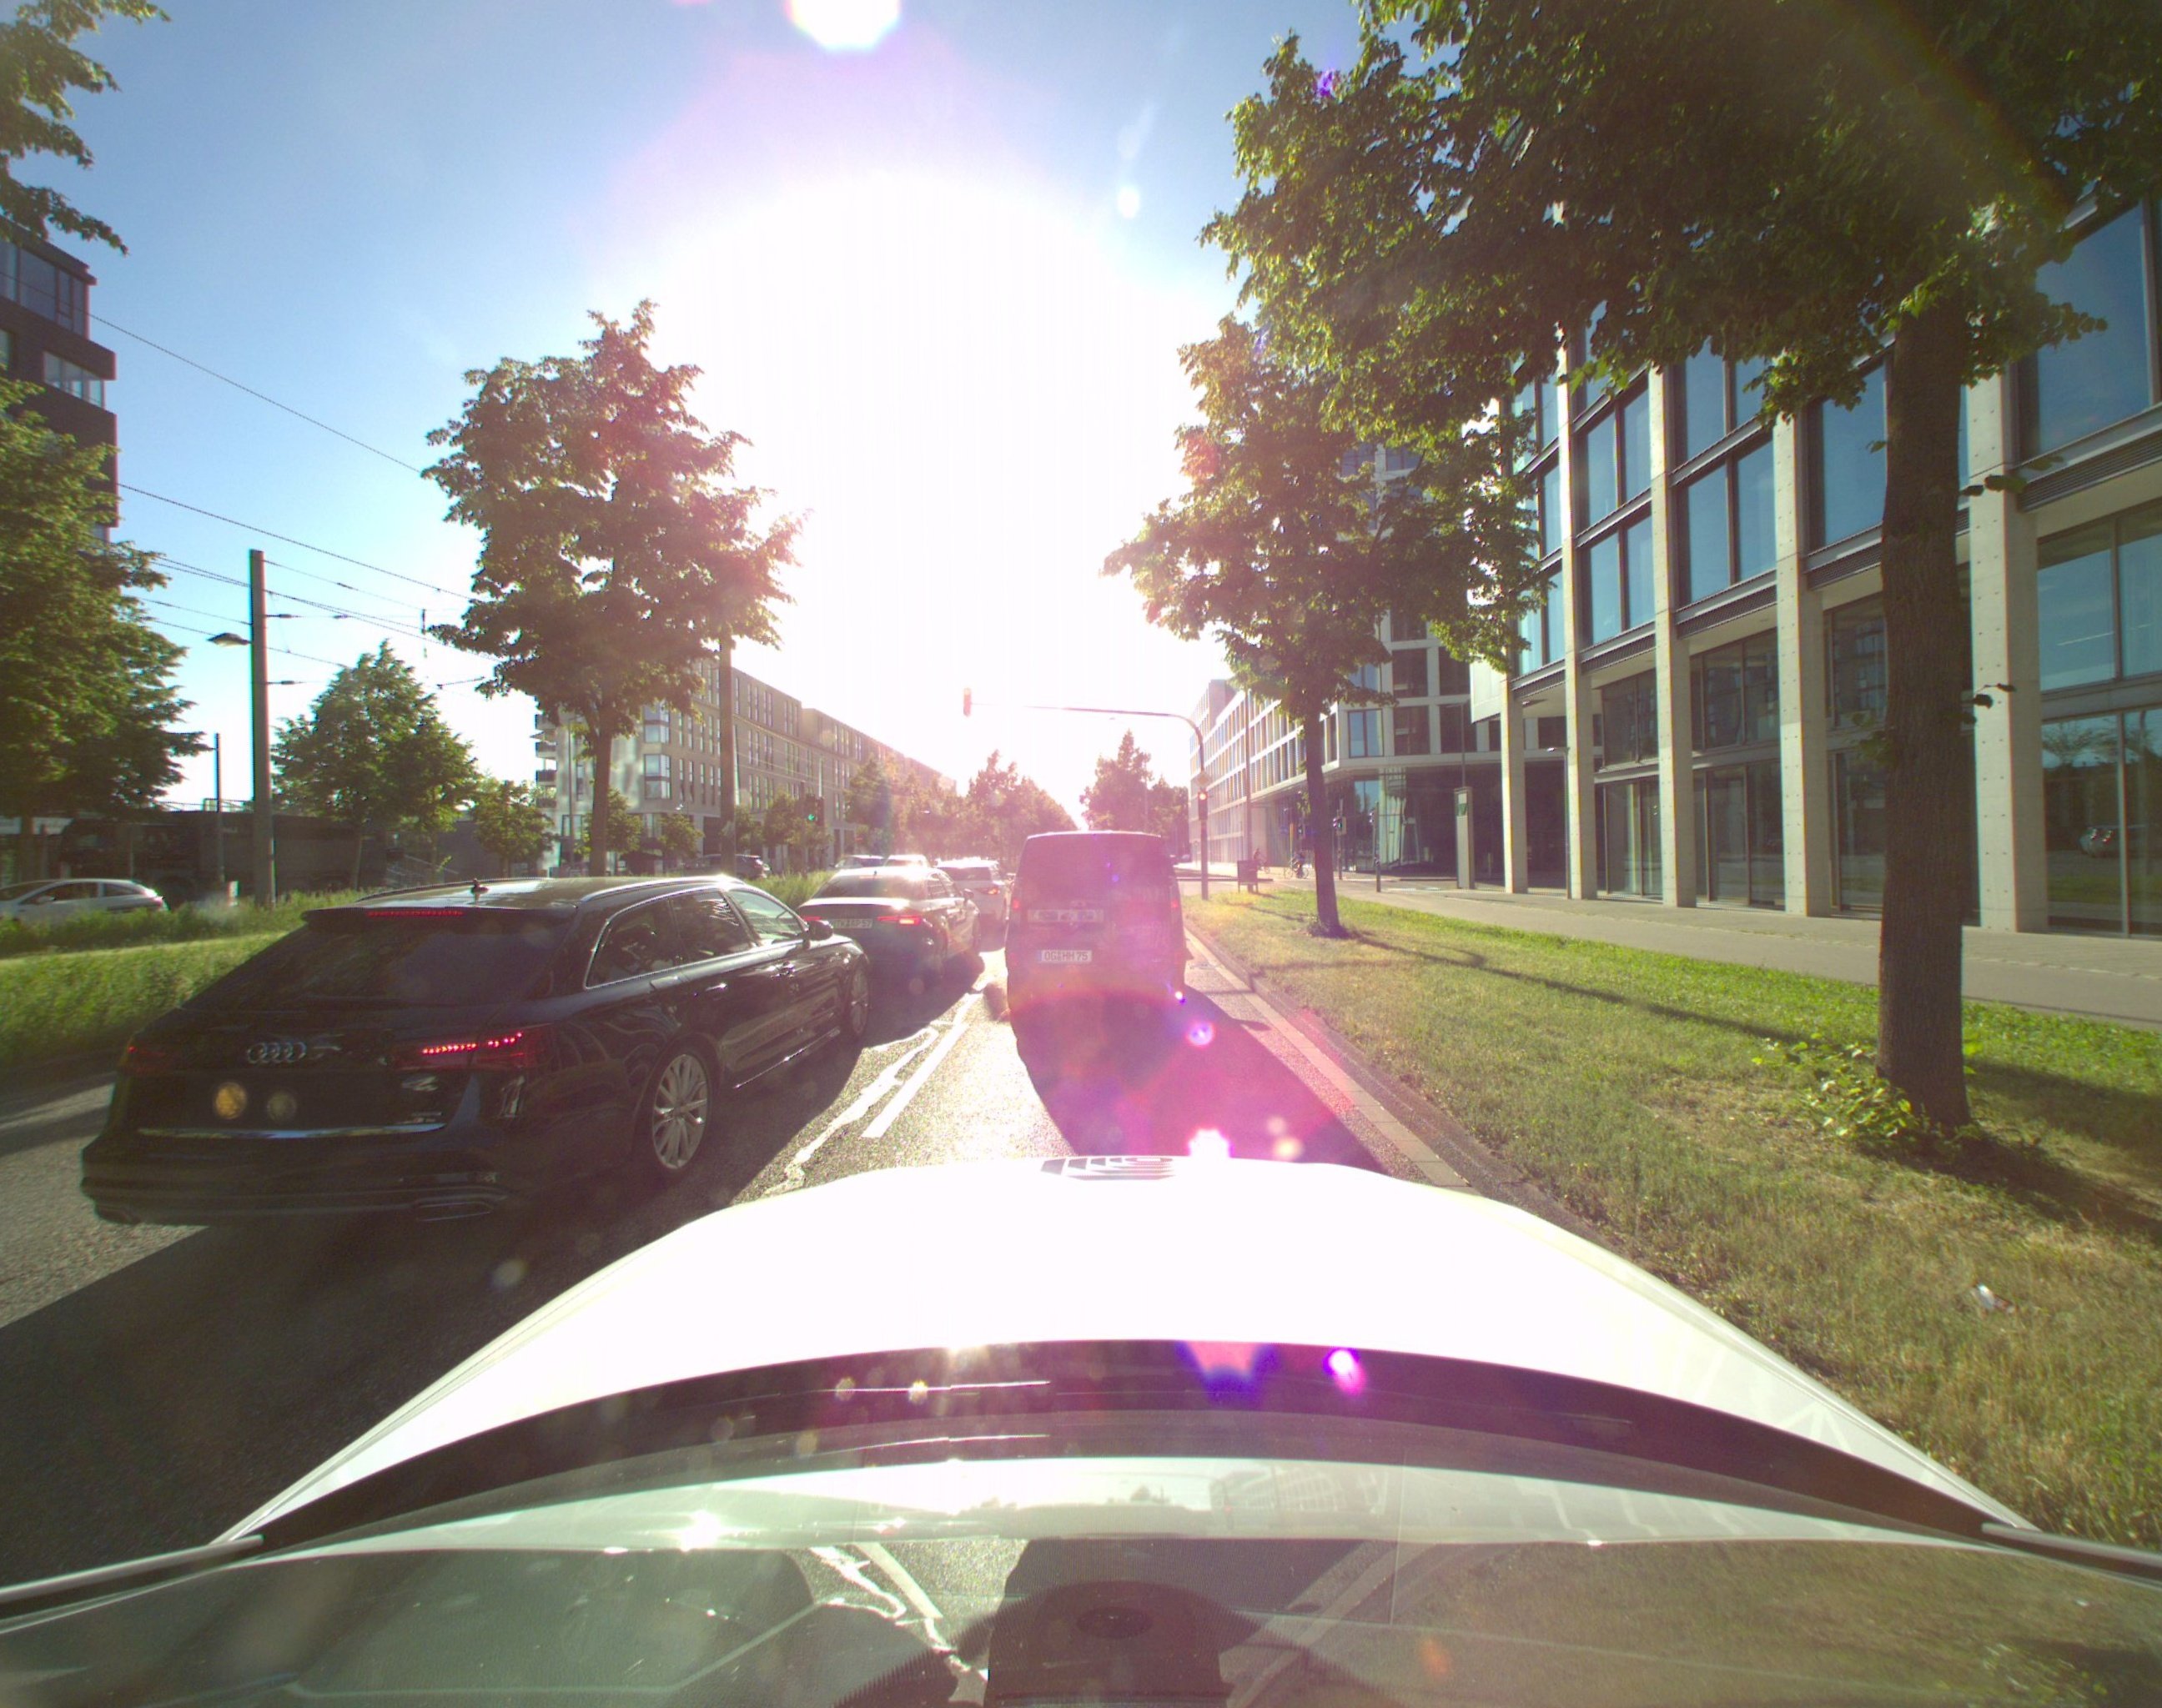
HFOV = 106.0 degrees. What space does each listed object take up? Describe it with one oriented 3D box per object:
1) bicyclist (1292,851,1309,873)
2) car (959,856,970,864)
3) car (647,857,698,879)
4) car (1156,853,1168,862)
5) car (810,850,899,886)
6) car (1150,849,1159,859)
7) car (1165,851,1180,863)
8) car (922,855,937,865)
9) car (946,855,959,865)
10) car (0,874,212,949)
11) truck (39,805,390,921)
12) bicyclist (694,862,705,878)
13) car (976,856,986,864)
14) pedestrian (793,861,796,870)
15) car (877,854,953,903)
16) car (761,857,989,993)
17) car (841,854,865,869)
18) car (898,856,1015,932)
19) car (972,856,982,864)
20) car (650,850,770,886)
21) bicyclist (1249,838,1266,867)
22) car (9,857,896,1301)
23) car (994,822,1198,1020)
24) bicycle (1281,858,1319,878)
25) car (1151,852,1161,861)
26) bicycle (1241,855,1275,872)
[{"bbox_3d":[12.908,0.458,47.912,0.814,1.275,0.683,-1,0,4],"label":"bicyclist"},{"bbox_3d":[-28.610,1.418,200.178,1.986,2.013,4.002,-1,0,2],"label":"car"},{"bbox_3d":[-31.047,1.043,62.068,1.758,1.520,4.002,-1,0,2],"label":"car"},{"bbox_3d":[15.965,0.625,160.471,1.986,1.782,4.002,-1,0,2],"label":"car"},{"bbox_3d":[-9.863,0.611,35.326,1.815,1.447,4.512,-1,0,-43],"label":"car"},{"bbox_3d":[17.892,0.017,198.173,1.986,2.497,4.988,-1,0,2],"label":"car"},{"bbox_3d":[14.320,0.426,127.721,1.986,1.782,4.002,-1,0,2],"label":"car"},{"bbox_3d":[-29.695,1.185,159.375,1.986,2.013,4.002,-1,0,2],"label":"car"},{"bbox_3d":[-28.900,1.325,183.359,1.986,2.013,4.002,-1,0,2],"label":"car"},{"bbox_3d":[-24.380,1.296,19.616,1.792,1.483,4.571,2,0,2],"label":"car"},{"bbox_3d":[-33.633,0.297,32.640,2.880,3.853,10.218,-1,0,2],"label":"truck"},{"bbox_3d":[-37.510,1.559,80.025,0.674,1.529,0.714,-1,0,1],"label":"bicyclist"},{"bbox_3d":[-27.441,1.563,223.807,1.986,2.013,4.002,-1,0,2],"label":"car"},{"bbox_3d":[-39.731,1.589,113.000,0.295,1.355,0.278,-1,0,1],"label":"pedestrian"},{"bbox_3d":[-5.597,0.778,27.889,1.508,1.492,4.219,2,0,3],"label":"car"},{"bbox_3d":[-2.498,0.783,11.059,1.835,1.426,4.340,-1,0,2],"label":"car"},{"bbox_3d":[-30.882,0.990,110.589,1.986,2.013,4.002,-1,0,2],"label":"car"},{"bbox_3d":[-2.579,0.788,17.775,1.797,1.426,3.902,-1,0,2],"label":"car"},{"bbox_3d":[-27.899,1.525,218.191,1.986,2.013,4.002,-1,0,2],"label":"car"},{"bbox_3d":[-16.546,0.612,36.513,4.557,1.447,1.797,-1,0,-12],"label":"car"},{"bbox_3d":[12.886,-0.111,59.485,0.819,2.092,0.935,-1,0,-25],"label":"bicyclist"},{"bbox_3d":[-2.757,0.790,5.324,1.868,1.484,4.967,-1,0,1],"label":"car"},{"bbox_3d":[0.198,0.613,9.466,1.835,1.780,4.002,-1,0,2],"label":"car"},{"bbox_3d":[12.915,0.797,48.101,0.819,1.114,2.832,-1,0,-15],"label":"bicycle"},{"bbox_3d":[16.508,0.537,179.672,1.986,1.782,4.002,-1,0,2],"label":"car"},{"bbox_3d":[12.904,0.660,59.475,0.819,1.190,2.927,-1,0,-25],"label":"bicycle"}]
